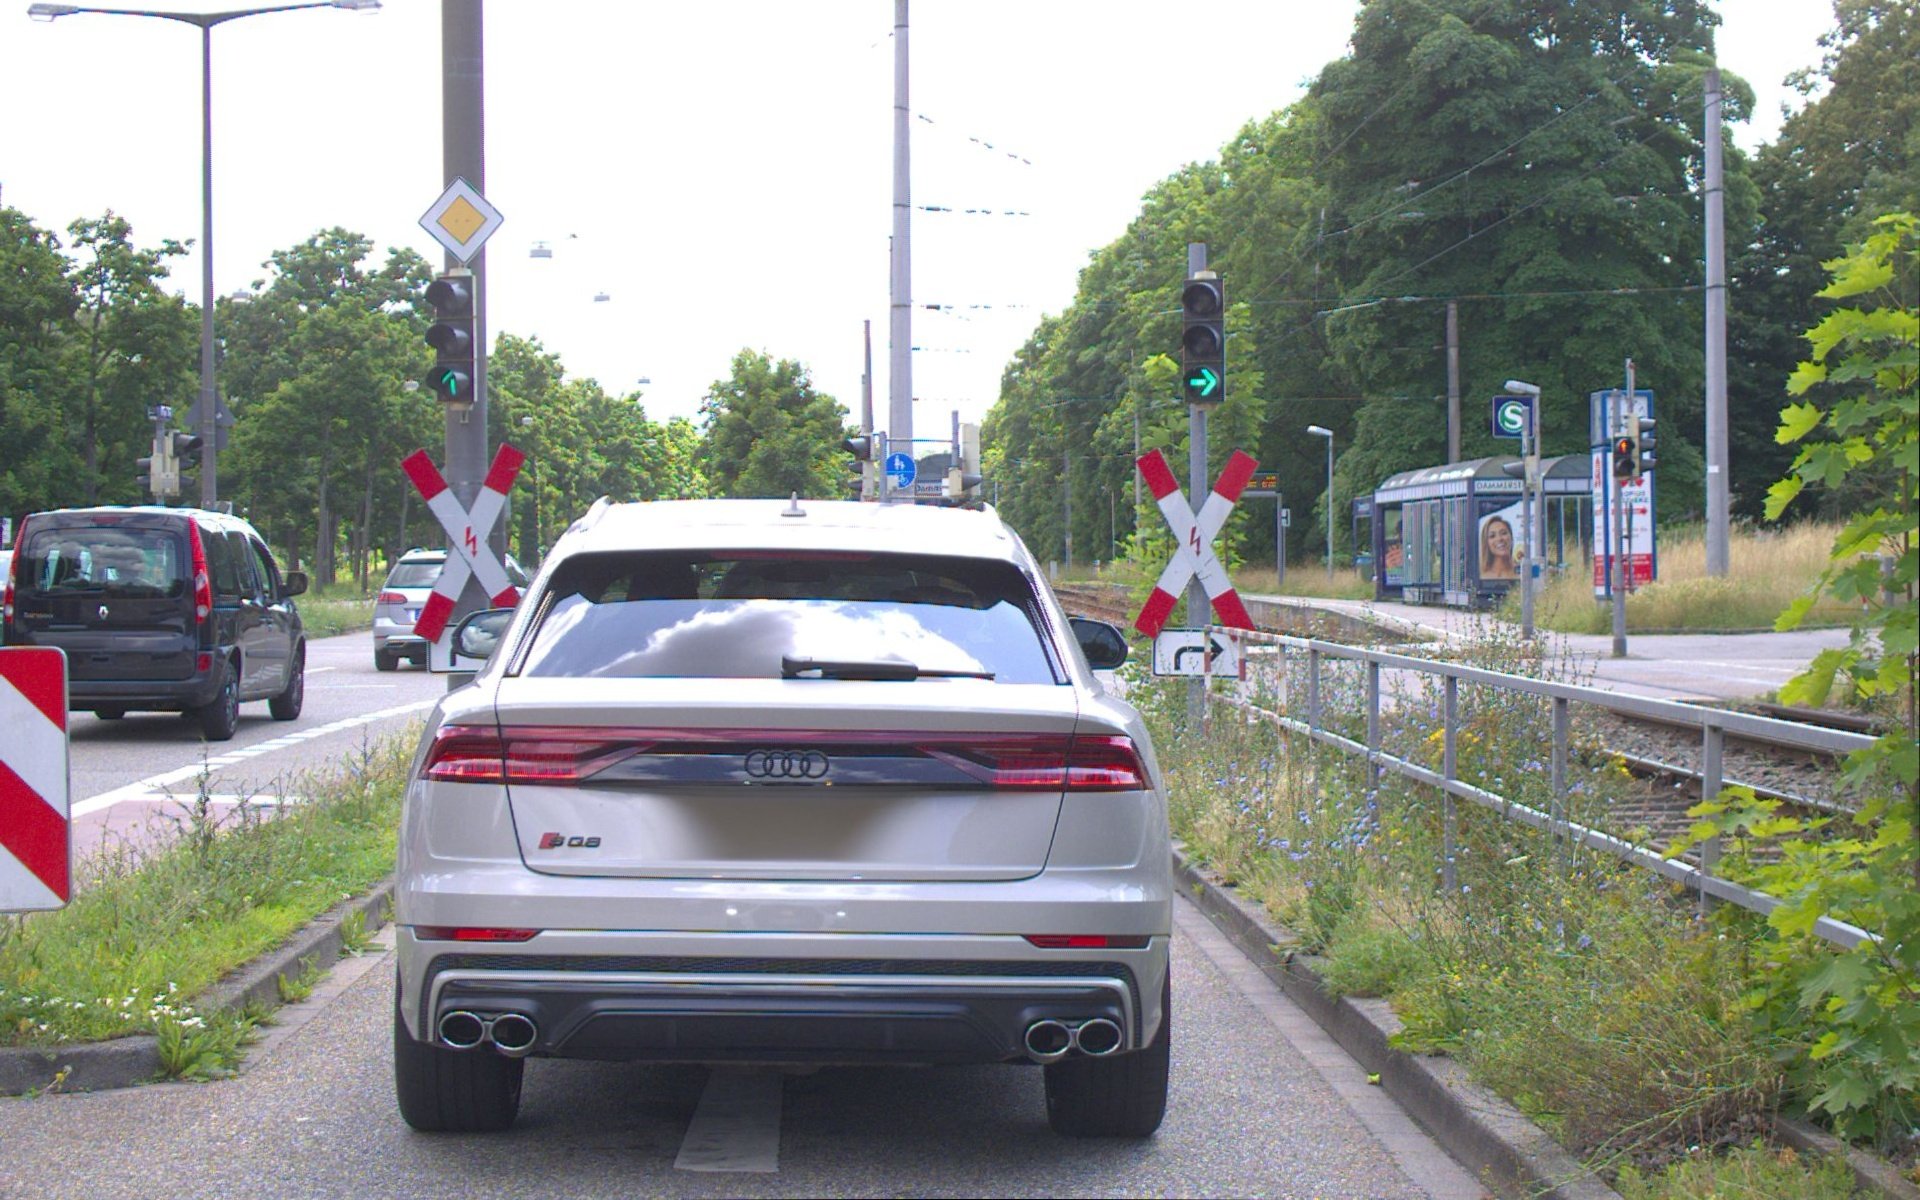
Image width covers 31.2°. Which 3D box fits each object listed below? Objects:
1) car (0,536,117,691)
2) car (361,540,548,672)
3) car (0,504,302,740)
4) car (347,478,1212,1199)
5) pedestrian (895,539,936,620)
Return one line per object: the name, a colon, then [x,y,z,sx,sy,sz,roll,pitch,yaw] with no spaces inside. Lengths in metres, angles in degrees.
car: [-9.980,0.099,35.290,1.864,1.499,4.001,1,1,-3]
car: [-6.188,0.052,42.497,1.785,1.520,4.301,1,1,-2]
car: [-6.552,0.149,28.081,1.759,1.771,3.909,1,0,-3]
car: [-0.444,0.549,10.250,1.981,1.678,4.574,1,1,-1]
pedestrian: [-0.840,-0.394,64.656,0.653,1.508,0.718,-1,1,-10]
